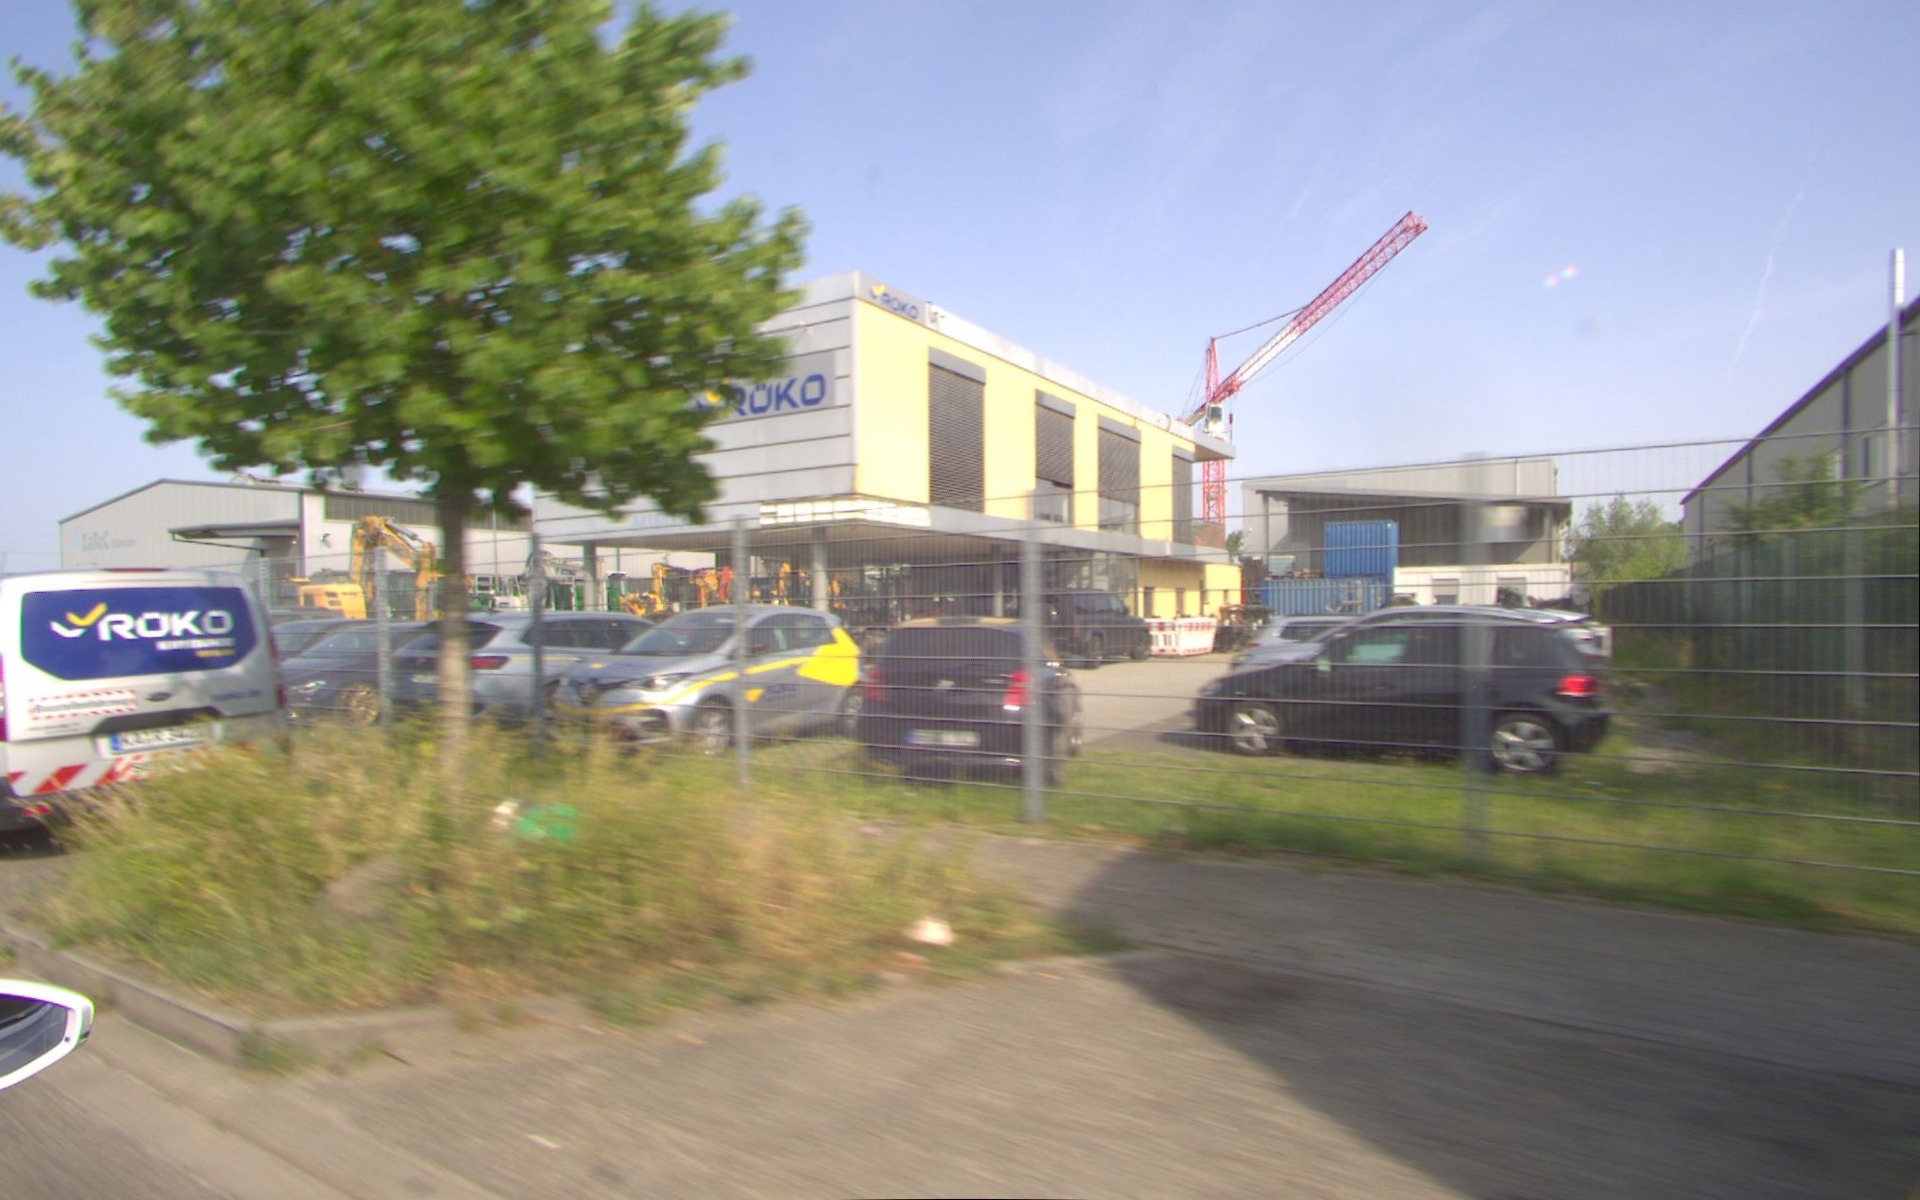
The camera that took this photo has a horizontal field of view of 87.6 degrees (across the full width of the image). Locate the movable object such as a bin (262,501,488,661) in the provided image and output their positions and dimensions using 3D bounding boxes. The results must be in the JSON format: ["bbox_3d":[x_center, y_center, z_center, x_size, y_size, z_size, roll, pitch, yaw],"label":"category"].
[{"bbox_3d":[-19.855,-0.570,33.897,7.558,4.870,3.311,0,1,30],"label":"movable object such as a bin"}]

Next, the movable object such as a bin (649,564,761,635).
[{"bbox_3d":[-14.484,0.010,56.867,6.048,3.831,2.448,-1,1,28],"label":"movable object such as a bin"}]

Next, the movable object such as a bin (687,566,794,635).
[{"bbox_3d":[-13.158,0.063,59.959,6.048,3.982,2.448,-1,1,28],"label":"movable object such as a bin"}]

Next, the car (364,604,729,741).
[{"bbox_3d":[-4.847,0.808,12.342,1.762,1.388,3.987,0,-2,27],"label":"car"}]

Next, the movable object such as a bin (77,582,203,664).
[{"bbox_3d":[-26.671,0.716,32.527,4.700,2.491,1.986,0,0,36],"label":"movable object such as a bin"}]

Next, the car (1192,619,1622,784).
[{"bbox_3d":[4.709,0.933,10.729,3.944,1.451,1.881,-1,-1,33],"label":"car"}]

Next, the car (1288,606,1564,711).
[{"bbox_3d":[8.324,0.971,18.126,4.301,1.713,1.888,0,0,27],"label":"car"}]

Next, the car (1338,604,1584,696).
[{"bbox_3d":[10.119,0.950,20.476,4.301,1.713,1.888,0,0,27],"label":"car"}]

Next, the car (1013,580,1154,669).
[{"bbox_3d":[3.199,0.584,25.204,1.868,2.028,4.348,0,0,32],"label":"car"}]

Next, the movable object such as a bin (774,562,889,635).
[{"bbox_3d":[-7.270,-0.047,56.557,5.929,3.982,2.715,-1,1,28],"label":"movable object such as a bin"}]

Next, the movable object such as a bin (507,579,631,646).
[{"bbox_3d":[-17.344,0.507,44.331,5.605,2.806,2.051,0,1,30],"label":"movable object such as a bin"}]

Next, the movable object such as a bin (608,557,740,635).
[{"bbox_3d":[-15.402,-0.145,53.821,7.091,3.982,2.463,-1,1,28],"label":"movable object such as a bin"}]

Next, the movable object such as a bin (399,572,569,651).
[{"bbox_3d":[-17.884,0.405,37.548,6.254,2.752,2.696,0,1,30],"label":"movable object such as a bin"}]

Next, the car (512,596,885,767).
[{"bbox_3d":[-2.601,0.785,10.946,1.762,1.496,3.987,0,-2,27],"label":"car"}]

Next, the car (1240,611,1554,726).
[{"bbox_3d":[6.773,0.974,15.770,4.301,1.577,1.888,0,0,27],"label":"car"}]

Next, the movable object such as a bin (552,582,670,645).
[{"bbox_3d":[-16.292,0.607,46.718,5.605,2.806,2.051,0,1,30],"label":"movable object such as a bin"}]

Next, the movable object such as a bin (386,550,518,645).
[{"bbox_3d":[-22.406,-0.077,44.158,5.636,3.925,2.678,0,0,32],"label":"movable object such as a bin"}]

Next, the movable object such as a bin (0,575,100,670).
[{"bbox_3d":[-29.374,0.679,31.660,5.086,2.788,1.883,0,0,33],"label":"movable object such as a bin"}]

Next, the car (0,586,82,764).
[{"bbox_3d":[-11.335,0.779,10.640,4.187,1.742,1.823,-1,-1,31],"label":"car"}]

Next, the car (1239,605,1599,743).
[{"bbox_3d":[5.909,0.856,13.192,4.036,1.577,1.888,0,0,27],"label":"car"}]

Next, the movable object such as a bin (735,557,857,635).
[{"bbox_3d":[-8.781,-0.168,53.491,5.929,3.982,2.715,-1,1,28],"label":"movable object such as a bin"}]

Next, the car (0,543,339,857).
[{"bbox_3d":[-6.982,0.640,7.735,4.535,1.812,1.989,-2,-1,33],"label":"car"}]

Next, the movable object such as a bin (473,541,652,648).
[{"bbox_3d":[-15.984,-0.203,40.159,7.099,3.982,2.913,0,1,30],"label":"movable object such as a bin"}]
